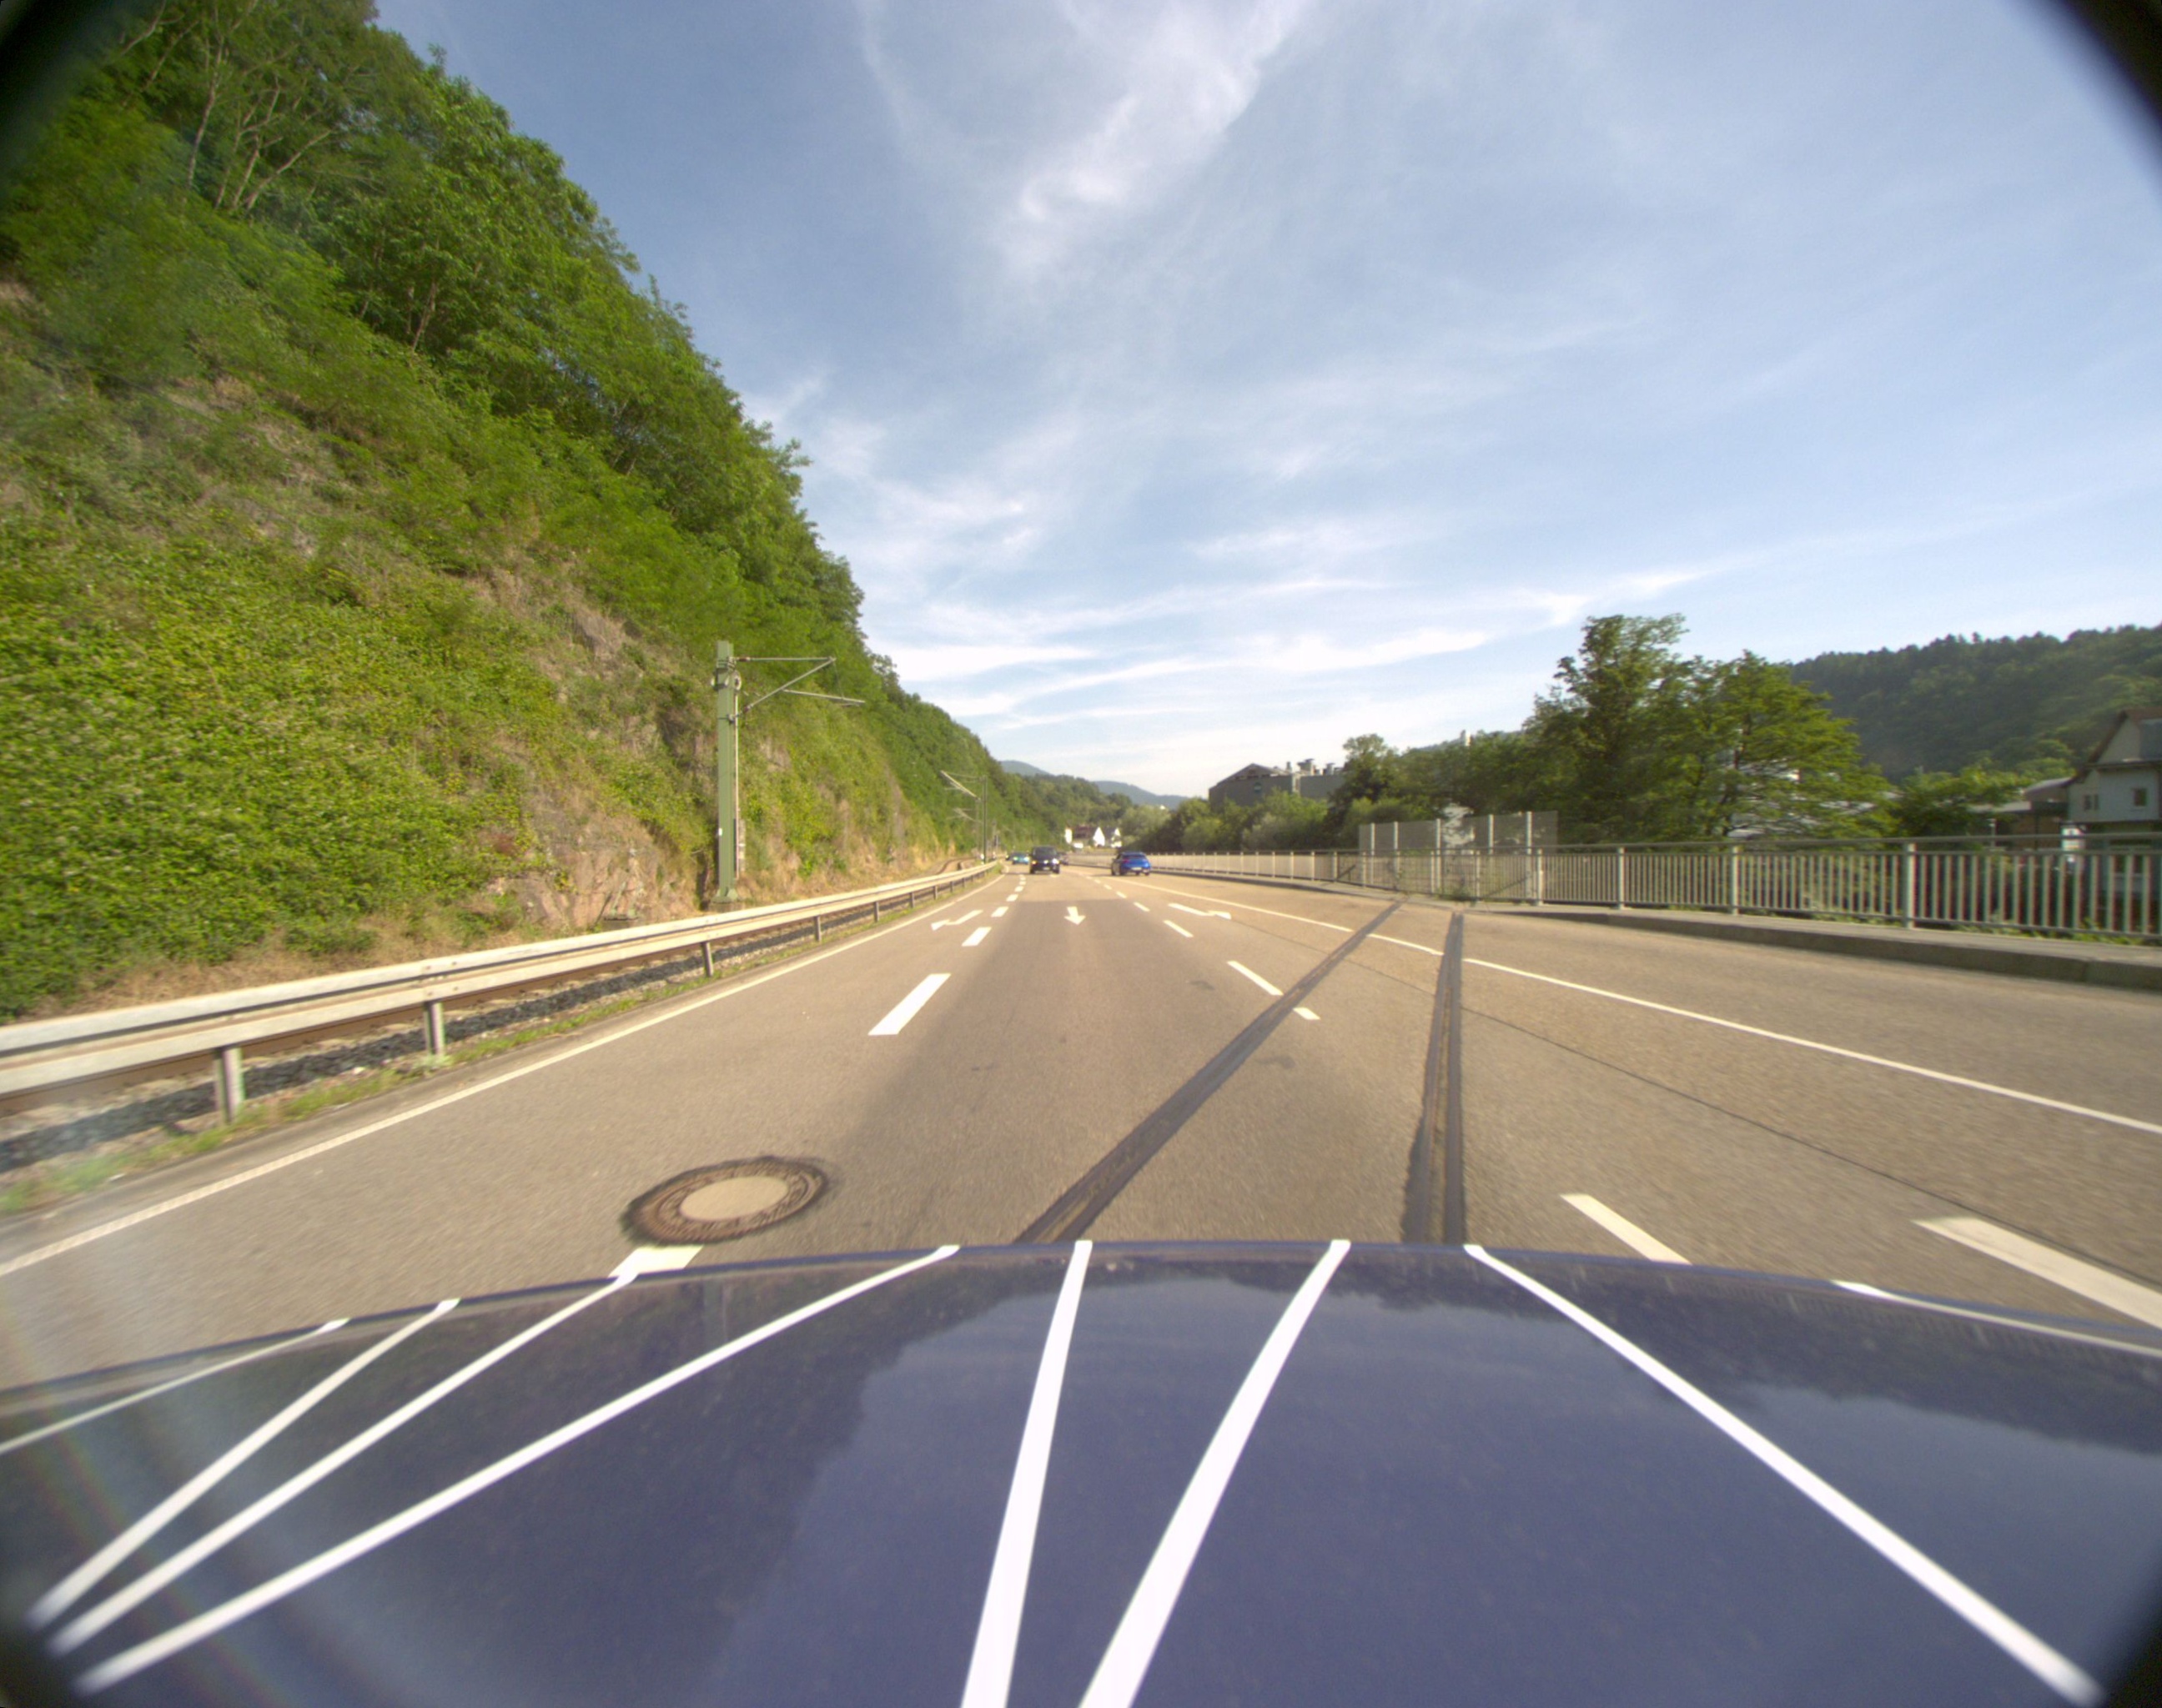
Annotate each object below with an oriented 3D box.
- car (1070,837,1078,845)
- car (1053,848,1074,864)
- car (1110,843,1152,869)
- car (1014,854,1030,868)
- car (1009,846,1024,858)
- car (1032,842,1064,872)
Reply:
[{"bbox_3d":[-1.879,-3.446,206.860,1.999,2.002,3.999,-2,1,-1],"label":"car"},{"bbox_3d":[-1.974,0.208,86.123,1.823,1.637,4.608,-1,1,-8],"label":"car"},{"bbox_3d":[3.035,0.097,46.696,1.787,1.473,4.522,-1,1,-6],"label":"car"},{"bbox_3d":[-6.953,0.795,89.292,1.769,1.452,3.573,0,2,-7],"label":"car"},{"bbox_3d":[-10.508,-0.295,123.157,2.000,1.784,3.996,-2,2,-9],"label":"car"},{"bbox_3d":[-2.310,0.201,52.063,1.910,1.868,4.346,-3,0,-5],"label":"car"}]
